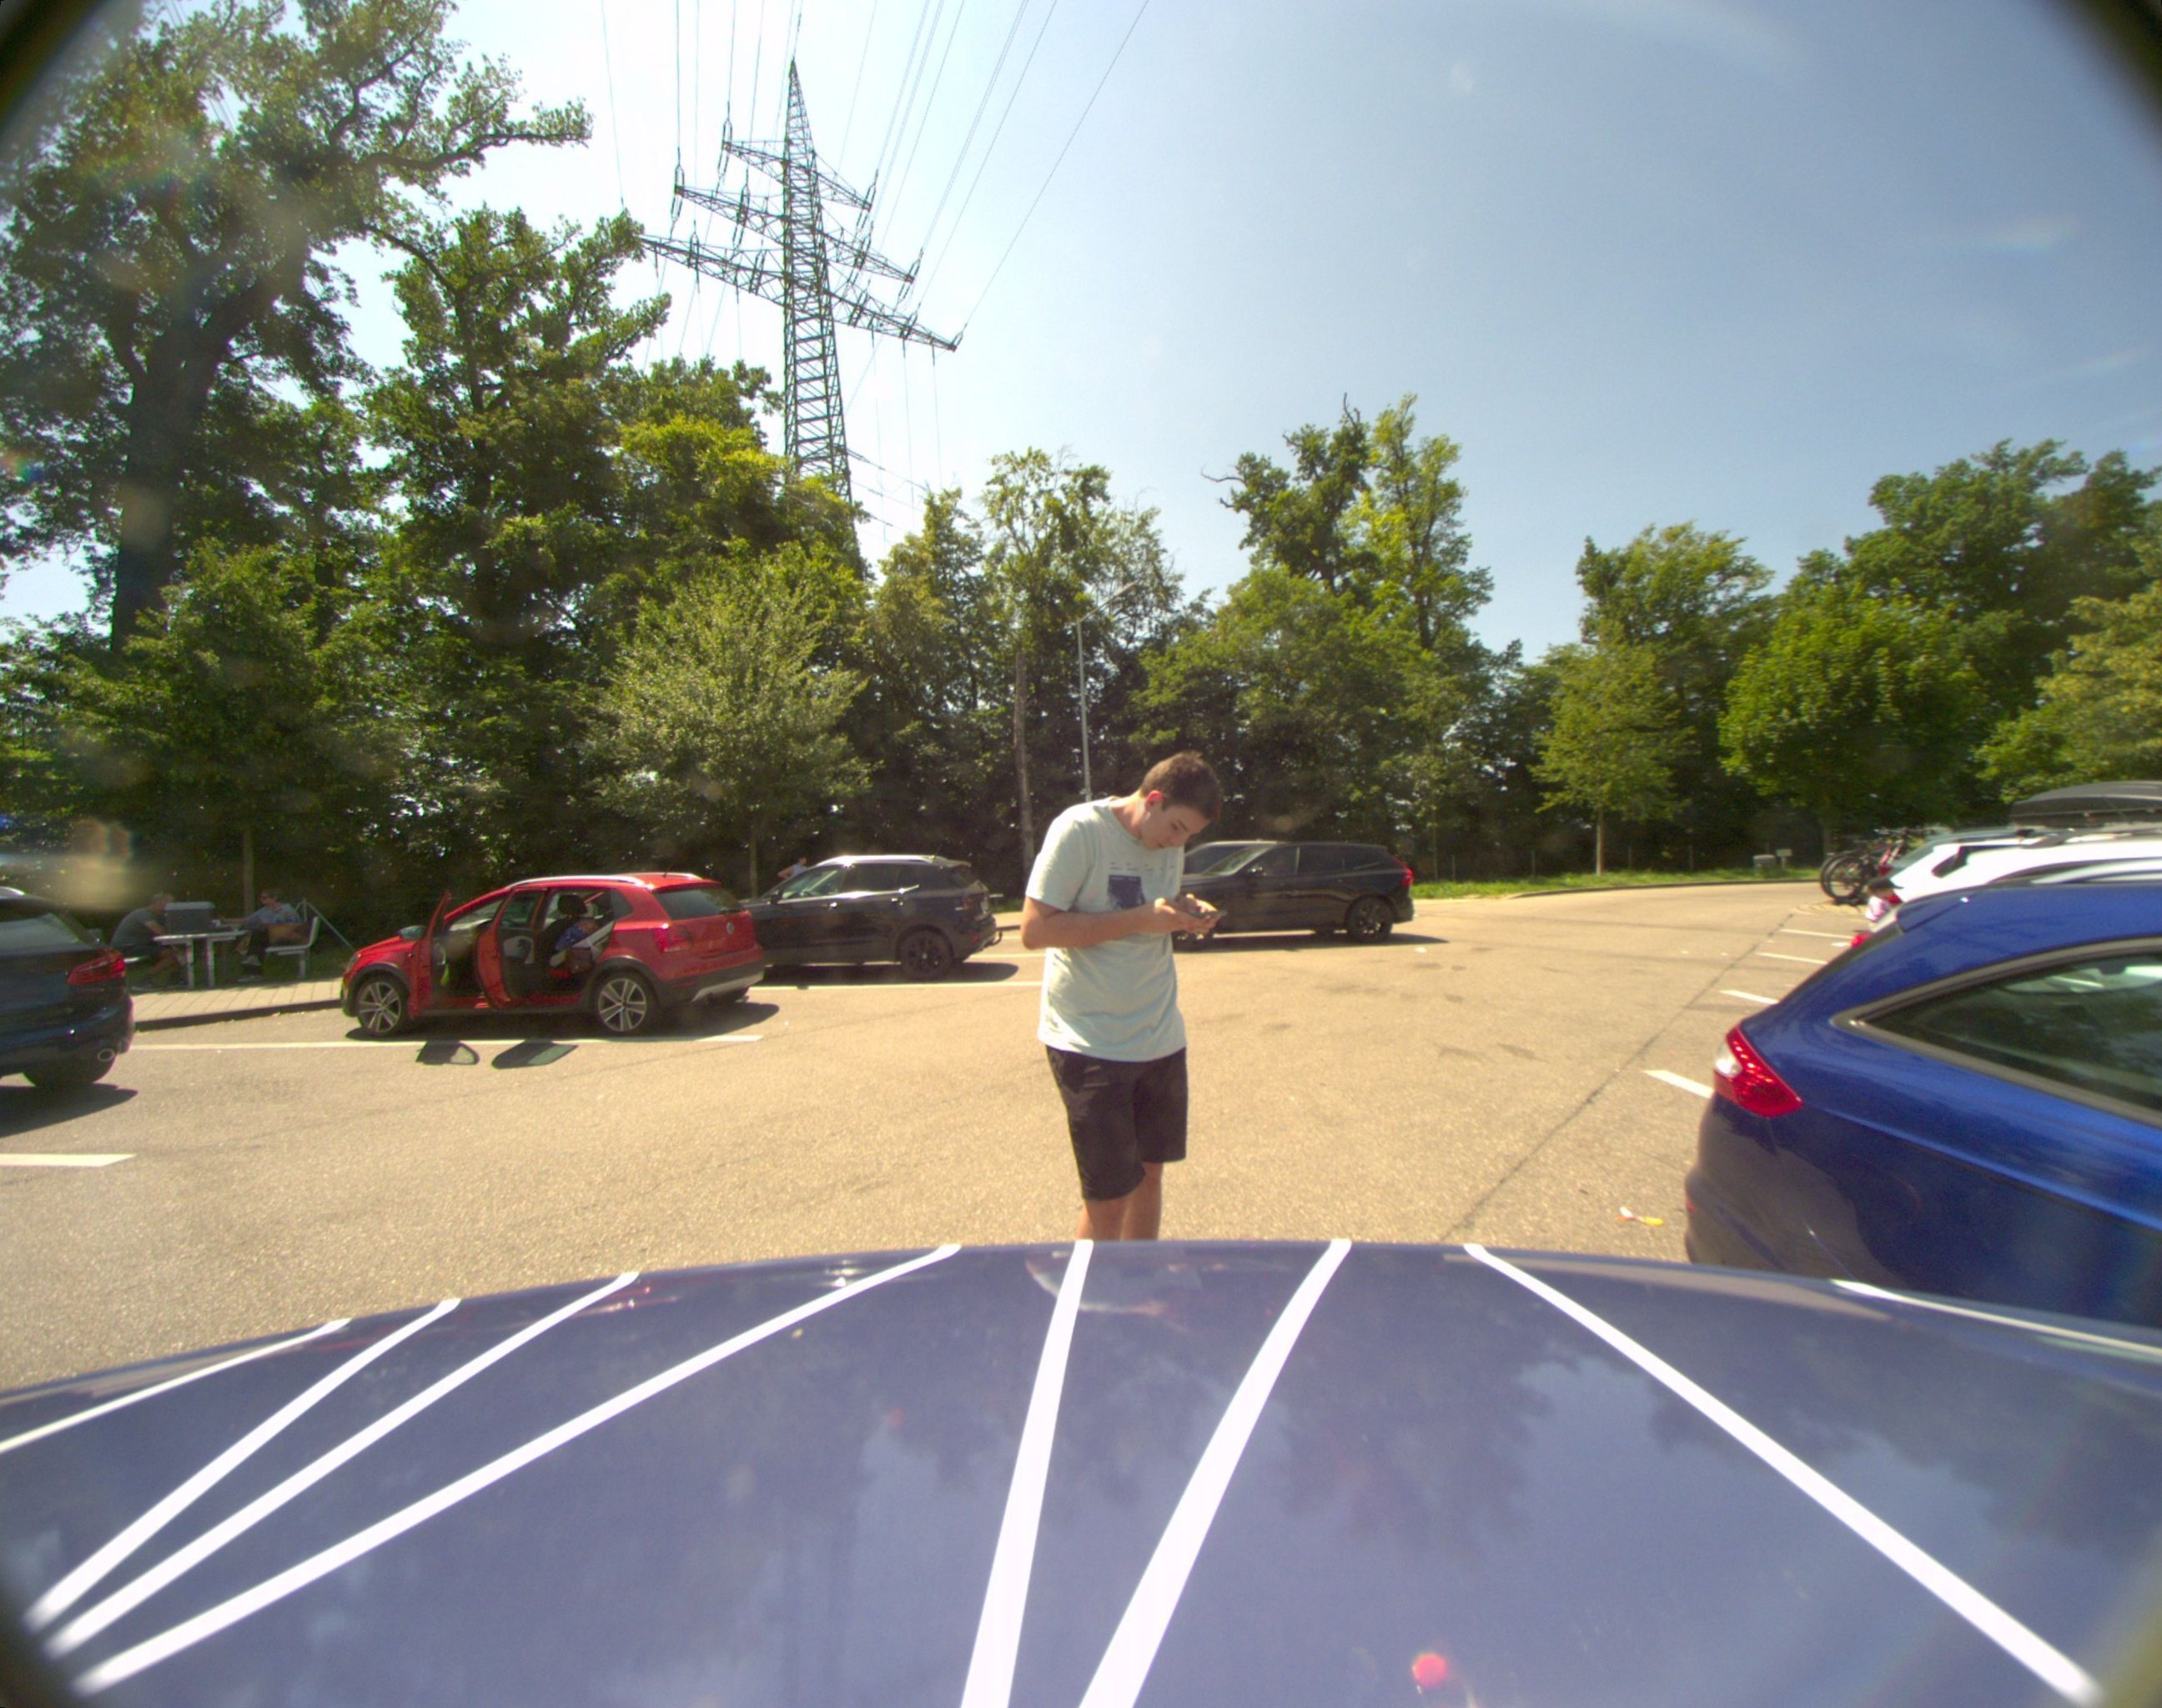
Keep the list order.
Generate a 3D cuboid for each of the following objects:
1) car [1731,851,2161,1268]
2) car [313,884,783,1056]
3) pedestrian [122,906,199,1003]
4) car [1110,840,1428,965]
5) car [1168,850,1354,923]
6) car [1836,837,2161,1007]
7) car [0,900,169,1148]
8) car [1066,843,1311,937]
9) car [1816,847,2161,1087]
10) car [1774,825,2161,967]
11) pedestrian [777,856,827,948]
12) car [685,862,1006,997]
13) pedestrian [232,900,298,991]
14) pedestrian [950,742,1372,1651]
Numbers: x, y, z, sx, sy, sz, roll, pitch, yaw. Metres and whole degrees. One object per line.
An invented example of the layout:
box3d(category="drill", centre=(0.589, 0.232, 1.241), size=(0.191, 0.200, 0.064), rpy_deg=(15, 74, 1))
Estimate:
box3d(category="car", centre=(4.879, 0.741, 2.353), size=(1.776, 1.491, 4.495), rpy_deg=(-3, -1, -1))
box3d(category="car", centre=(-5.183, 1.095, 7.636), size=(3.730, 1.440, 1.591), rpy_deg=(-2, 0, 7))
box3d(category="pedestrian", centre=(-12.625, 1.348, 10.437), size=(0.695, 1.228, 0.588), rpy_deg=(-3, 0, 43))
box3d(category="car", centre=(2.954, 0.698, 12.481), size=(4.617, 1.703, 1.998), rpy_deg=(-2, 1, -9))
box3d(category="car", centre=(4.150, 0.744, 18.009), size=(3.996, 1.495, 1.687), rpy_deg=(-2, 1, 3))
box3d(category="car", centre=(10.115, 0.569, 6.898), size=(1.777, 1.418, 4.493), rpy_deg=(-3, -1, -5))
box3d(category="car", centre=(-8.878, 1.168, 4.991), size=(3.934, 1.534, 1.812), rpy_deg=(-2, 0, 7))
box3d(category="car", centre=(2.146, 0.714, 15.470), size=(4.619, 1.701, 1.740), rpy_deg=(-2, 0, 9))
box3d(category="car", centre=(7.482, 0.673, 4.512), size=(1.776, 1.418, 4.495), rpy_deg=(-3, -1, -1))
box3d(category="car", centre=(12.546, 0.475, 10.370), size=(1.777, 1.541, 4.493), rpy_deg=(-3, -1, -5))
box3d(category="pedestrian", centre=(-5.759, 0.975, 15.684), size=(0.767, 1.821, 0.519), rpy_deg=(-3, 1, -37))
box3d(category="car", centre=(-3.026, 0.953, 10.313), size=(3.732, 1.578, 1.739), rpy_deg=(-2, 0, 2))
box3d(category="pedestrian", centre=(-11.944, 1.314, 11.126), size=(0.695, 1.228, 0.588), rpy_deg=(-3, 0, 43))
box3d(category="pedestrian", centre=(0.180, 0.719, 2.080), size=(0.862, 1.940, 0.687), rpy_deg=(-3, 1, -21))
